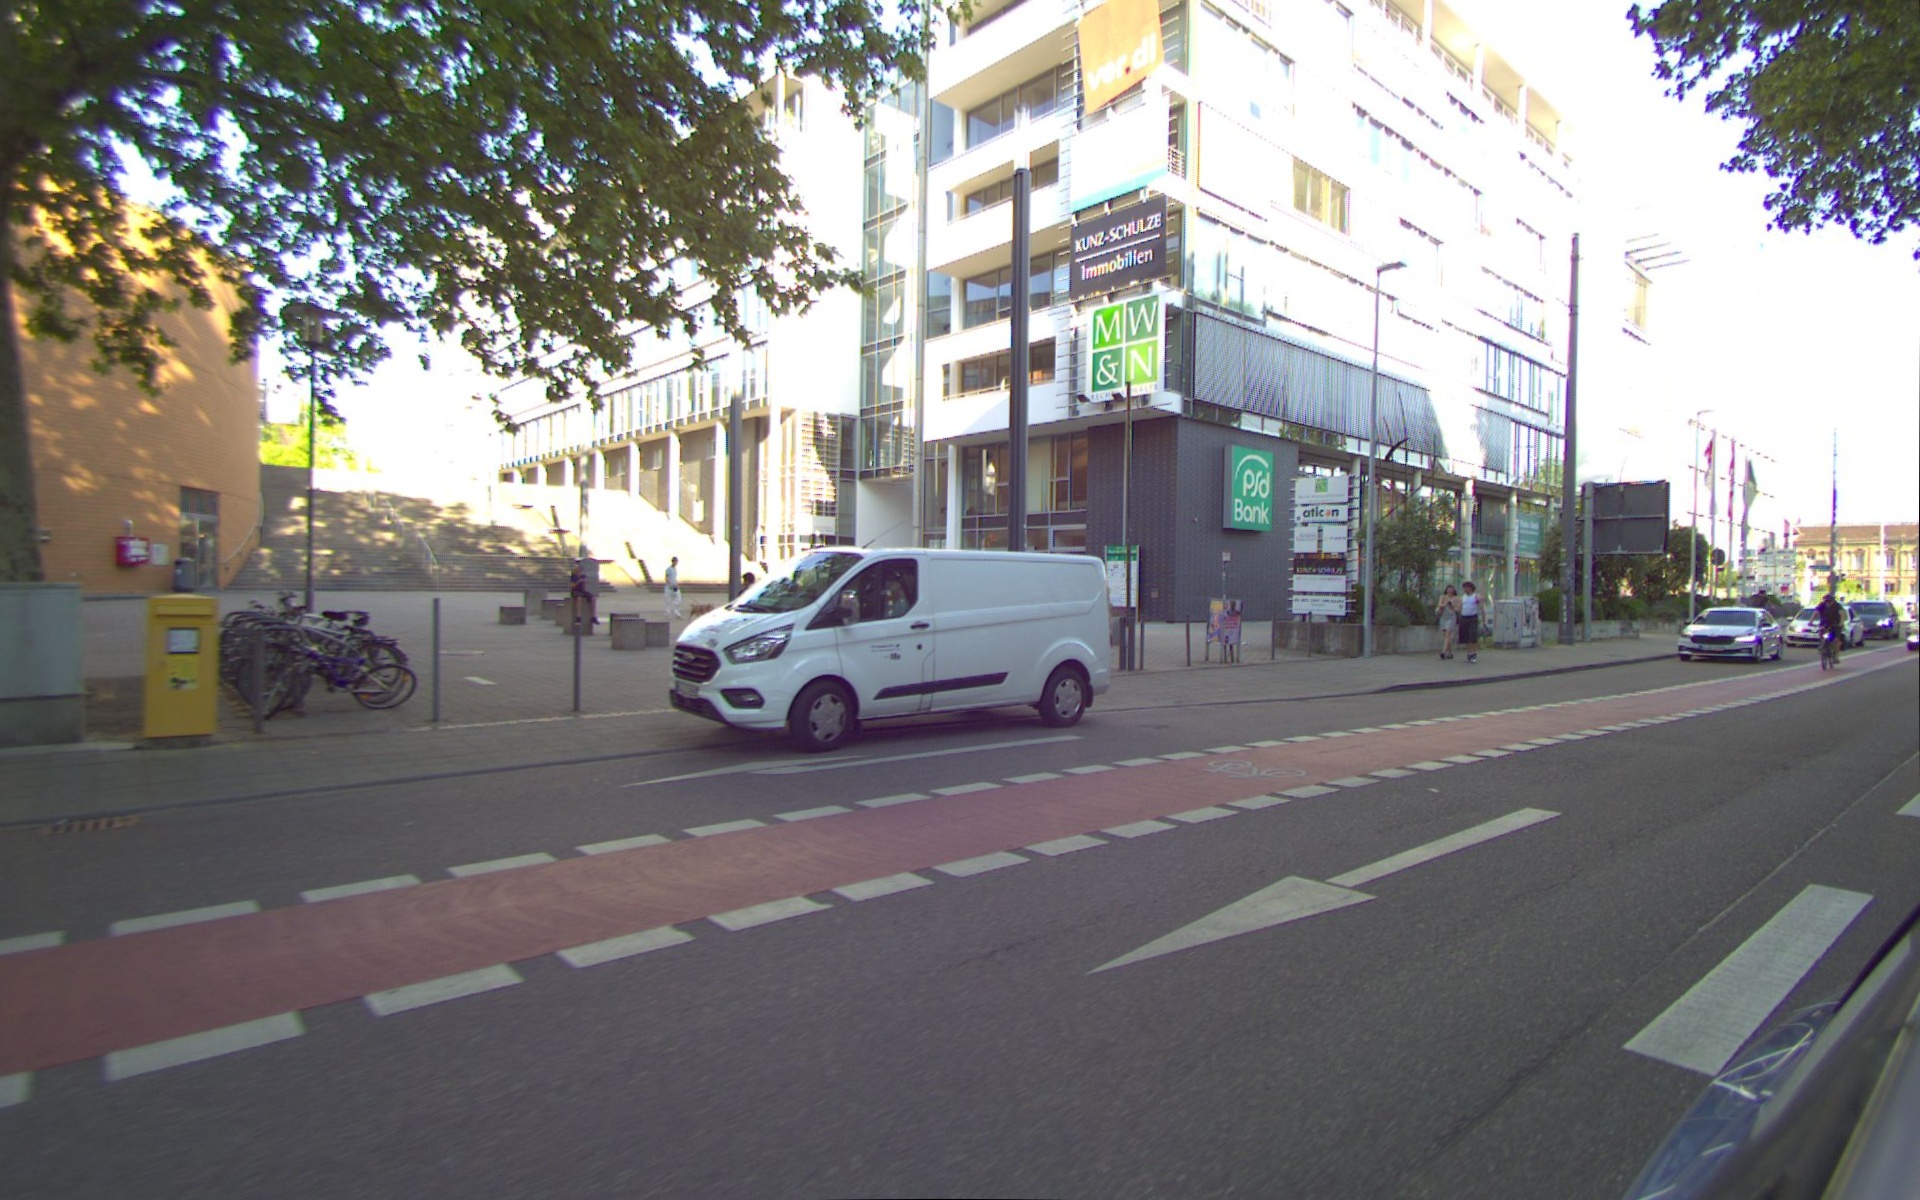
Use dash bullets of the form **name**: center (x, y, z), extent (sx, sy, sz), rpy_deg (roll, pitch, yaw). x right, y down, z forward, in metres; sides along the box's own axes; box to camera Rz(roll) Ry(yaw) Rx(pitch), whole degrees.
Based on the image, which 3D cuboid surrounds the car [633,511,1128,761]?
- **car**: center (-0.691, 0.277, 11.244), extent (5.194, 2.160, 2.128), rpy_deg (0, 1, -39)

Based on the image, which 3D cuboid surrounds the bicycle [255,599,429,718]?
- **bicycle**: center (-6.574, 0.587, 10.807), extent (1.513, 1.173, 0.513), rpy_deg (0, 1, -42)

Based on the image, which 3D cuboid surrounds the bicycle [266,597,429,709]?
- **bicycle**: center (-6.903, 0.558, 11.446), extent (1.513, 1.173, 0.513), rpy_deg (0, 1, -42)

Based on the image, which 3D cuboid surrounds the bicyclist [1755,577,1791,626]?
- **bicyclist**: center (31.042, 0.038, 38.633), extent (1.188, 1.784, 0.743), rpy_deg (0, 4, -40)

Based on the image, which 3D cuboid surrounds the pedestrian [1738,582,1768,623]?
- **pedestrian**: center (31.879, 0.085, 40.672), extent (0.895, 1.594, 0.753), rpy_deg (0, 1, -38)

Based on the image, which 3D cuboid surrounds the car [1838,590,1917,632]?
- **car**: center (38.292, 0.428, 42.230), extent (3.930, 1.616, 1.997), rpy_deg (0, 1, -41)

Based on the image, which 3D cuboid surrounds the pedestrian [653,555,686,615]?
- **pedestrian**: center (-8.265, -0.424, 28.796), extent (0.710, 1.697, 0.539), rpy_deg (0, 1, -41)

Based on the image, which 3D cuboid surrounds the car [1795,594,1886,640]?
- **car**: center (30.764, 0.555, 35.332), extent (3.798, 1.482, 1.672), rpy_deg (0, 1, -38)

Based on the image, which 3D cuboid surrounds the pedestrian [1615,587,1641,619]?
- **pedestrian**: center (27.332, 0.106, 41.430), extent (0.682, 1.288, 0.750), rpy_deg (0, 1, -45)

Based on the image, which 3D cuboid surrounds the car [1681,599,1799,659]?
- **car**: center (21.061, 0.715, 27.266), extent (3.952, 1.437, 1.784), rpy_deg (0, 2, -41)

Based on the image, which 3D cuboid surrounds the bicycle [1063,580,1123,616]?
- **bicycle**: center (4.134, -0.077, 31.547), extent (0.688, 1.076, 1.878), rpy_deg (0, 2, -41)

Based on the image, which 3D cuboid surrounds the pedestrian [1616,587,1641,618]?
- **pedestrian**: center (27.761, 0.092, 42.016), extent (0.535, 1.288, 0.783), rpy_deg (0, 1, -45)

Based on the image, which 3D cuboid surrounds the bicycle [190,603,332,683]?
- **bicycle**: center (-9.151, 0.537, 13.283), extent (1.484, 0.971, 0.459), rpy_deg (0, 1, -42)

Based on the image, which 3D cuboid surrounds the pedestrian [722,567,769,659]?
- **pedestrian**: center (-3.751, 0.220, 17.693), extent (0.625, 1.562, 0.578), rpy_deg (1, 1, -34)

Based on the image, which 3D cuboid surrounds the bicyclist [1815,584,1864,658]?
- **bicyclist**: center (21.044, 0.482, 24.211), extent (0.702, 1.709, 0.752), rpy_deg (0, 1, -41)

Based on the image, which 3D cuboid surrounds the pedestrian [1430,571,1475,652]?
- **pedestrian**: center (11.418, 0.256, 23.450), extent (0.880, 1.831, 0.591), rpy_deg (0, 2, -41)

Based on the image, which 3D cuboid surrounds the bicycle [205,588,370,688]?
- **bicycle**: center (-8.474, 0.449, 12.803), extent (1.689, 1.193, 0.459), rpy_deg (0, 1, -42)

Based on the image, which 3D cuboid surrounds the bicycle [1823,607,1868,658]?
- **bicycle**: center (21.111, 0.760, 24.105), extent (2.090, 1.135, 0.550), rpy_deg (0, 1, -42)

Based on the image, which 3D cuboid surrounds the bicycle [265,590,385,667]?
- **bicycle**: center (-9.404, 0.406, 15.016), extent (1.481, 1.091, 0.460), rpy_deg (0, 1, -33)

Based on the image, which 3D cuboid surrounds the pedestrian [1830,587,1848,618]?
- **pedestrian**: center (45.932, 0.126, 52.889), extent (0.579, 1.601, 0.527), rpy_deg (0, 3, -40)

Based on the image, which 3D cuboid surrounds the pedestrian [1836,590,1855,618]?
- **pedestrian**: center (51.752, 0.242, 59.137), extent (0.652, 1.601, 0.693), rpy_deg (0, 3, -40)

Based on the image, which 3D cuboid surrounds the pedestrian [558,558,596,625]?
- **pedestrian**: center (-8.627, -0.207, 22.791), extent (0.590, 1.474, 0.712), rpy_deg (0, 1, -41)

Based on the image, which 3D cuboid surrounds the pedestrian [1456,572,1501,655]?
- **pedestrian**: center (11.759, 0.298, 22.946), extent (0.876, 1.831, 0.564), rpy_deg (0, 2, -41)

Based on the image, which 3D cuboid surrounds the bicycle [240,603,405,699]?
- **bicycle**: center (-7.527, 0.573, 12.000), extent (1.599, 1.042, 0.459), rpy_deg (0, 1, -42)

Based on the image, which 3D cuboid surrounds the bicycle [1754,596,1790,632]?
- **bicycle**: center (31.091, 0.530, 38.722), extent (1.894, 1.291, 0.665), rpy_deg (0, 4, -41)
